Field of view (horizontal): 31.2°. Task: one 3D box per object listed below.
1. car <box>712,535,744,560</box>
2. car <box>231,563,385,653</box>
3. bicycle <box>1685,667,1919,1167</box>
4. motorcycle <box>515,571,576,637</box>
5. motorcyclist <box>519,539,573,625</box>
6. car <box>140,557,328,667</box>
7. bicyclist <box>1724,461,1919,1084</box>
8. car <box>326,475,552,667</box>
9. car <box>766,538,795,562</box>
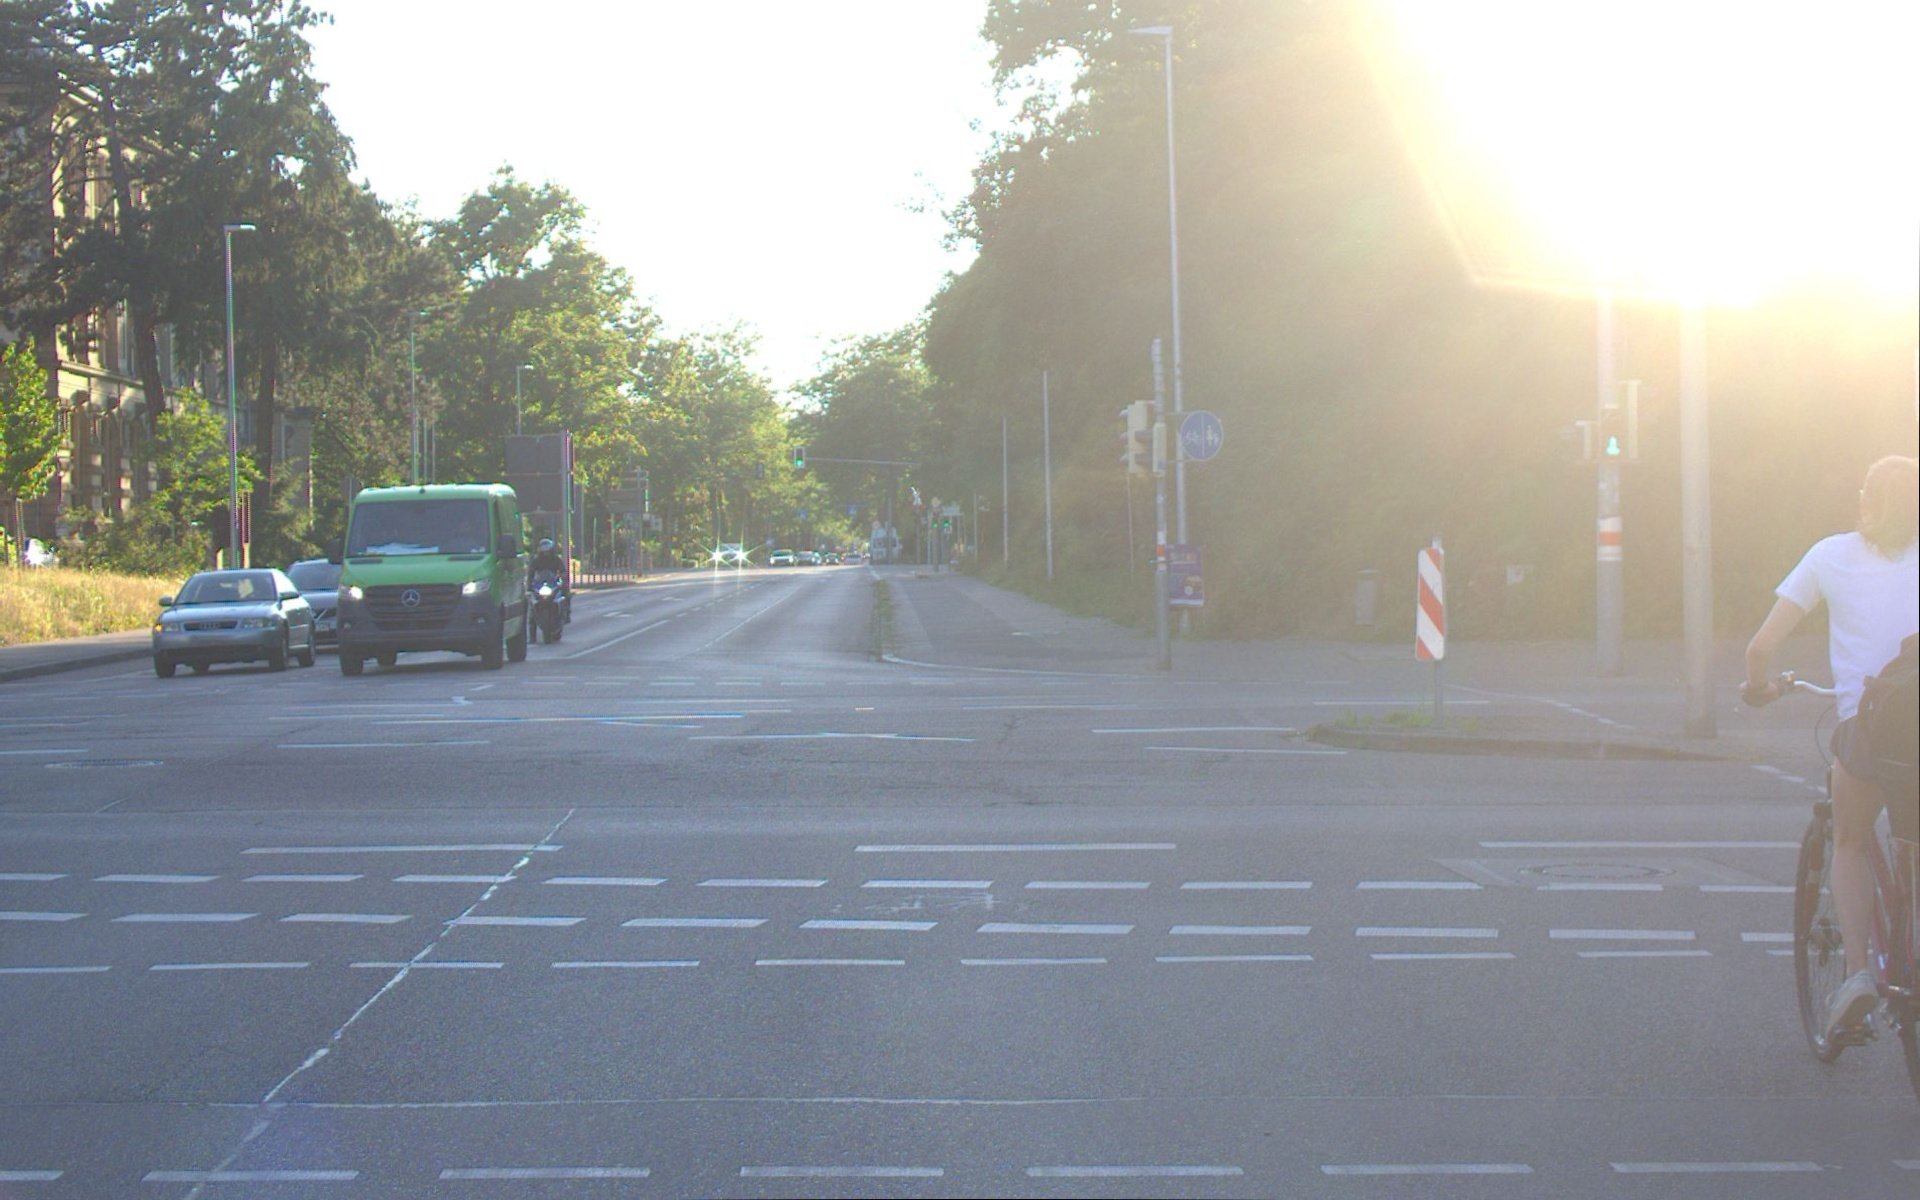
[{"bbox_3d":[-13.555,-3.059,200.571,1.770,1.469,3.777,-1,1,-5],"label":"car"},{"bbox_3d":[-10.274,0.104,54.387,1.764,1.323,3.643,-1,1,-1],"label":"car"},{"bbox_3d":[2.452,0.778,9.173,0.613,1.134,1.884,0,1,-1],"label":"bicycle"},{"bbox_3d":[-6.570,0.054,54.576,0.754,0.998,1.879,-1,1,-1],"label":"motorcycle"},{"bbox_3d":[-6.573,-0.289,54.603,0.749,1.353,0.704,-1,0,-1],"label":"motorcyclist"},{"bbox_3d":[-9.884,0.130,47.056,1.730,1.404,4.140,-1,1,-1],"label":"car"},{"bbox_3d":[2.452,0.431,9.182,0.603,1.580,0.910,0,1,-1],"label":"bicyclist"},{"bbox_3d":[-6.580,-0.393,44.061,2.038,2.270,5.941,-1,1,-1],"label":"car"},{"bbox_3d":[-12.788,-3.549,244.460,1.993,1.634,4.001,-1,1,-4],"label":"car"}]
